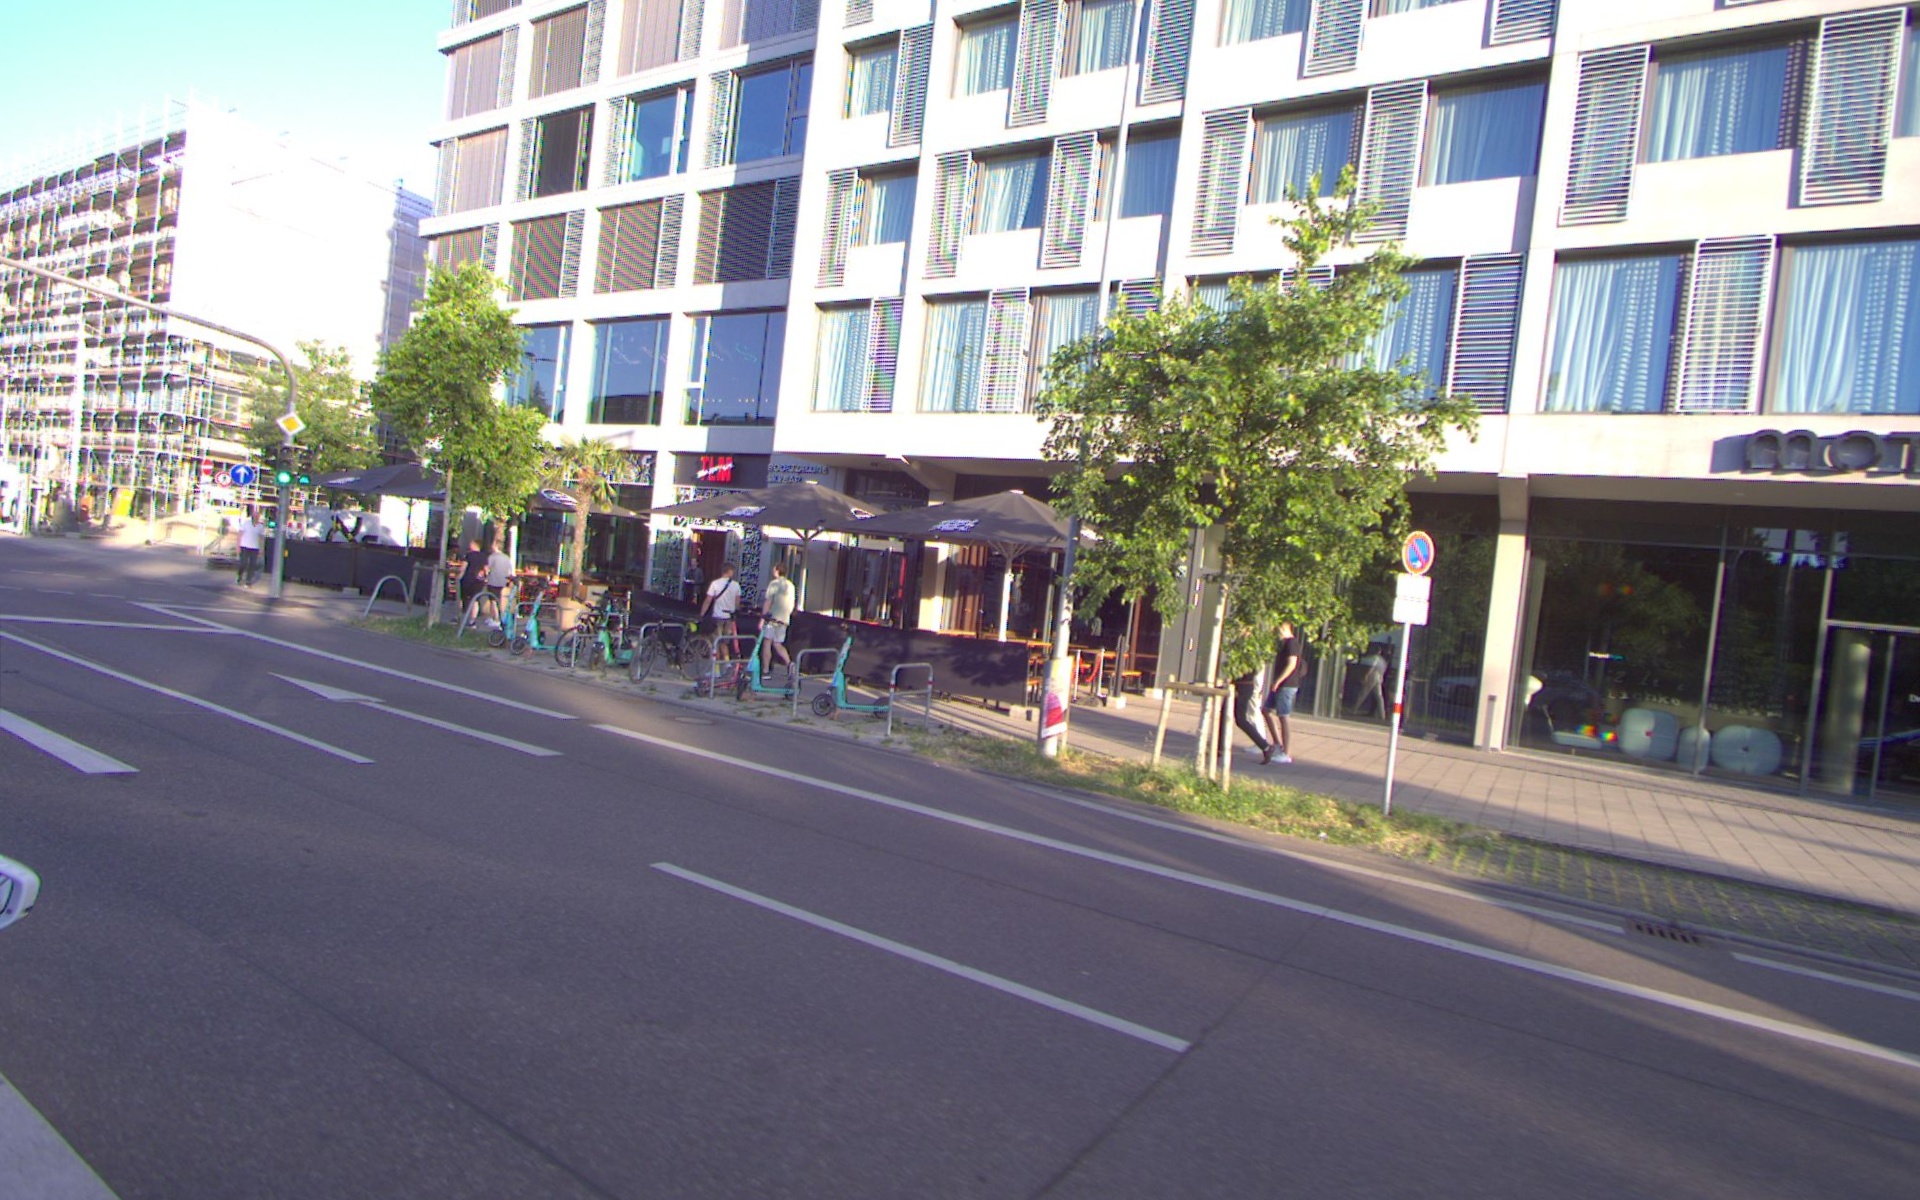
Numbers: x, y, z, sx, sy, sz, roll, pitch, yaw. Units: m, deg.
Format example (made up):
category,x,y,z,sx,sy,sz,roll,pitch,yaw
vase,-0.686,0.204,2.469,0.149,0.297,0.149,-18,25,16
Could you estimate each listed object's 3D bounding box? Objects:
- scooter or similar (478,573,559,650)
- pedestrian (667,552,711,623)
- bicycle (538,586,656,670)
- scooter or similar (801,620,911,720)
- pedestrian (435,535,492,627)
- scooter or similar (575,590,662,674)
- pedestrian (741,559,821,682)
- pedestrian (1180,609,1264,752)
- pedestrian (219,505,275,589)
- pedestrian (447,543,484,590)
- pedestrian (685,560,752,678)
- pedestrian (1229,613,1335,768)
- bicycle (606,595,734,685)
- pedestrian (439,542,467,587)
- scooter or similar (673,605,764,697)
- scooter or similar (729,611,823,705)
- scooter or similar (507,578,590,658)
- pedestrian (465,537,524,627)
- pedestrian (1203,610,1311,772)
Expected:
category,x,y,z,sx,sy,sz,roll,pitch,yaw
scooter or similar,-7.584,0.202,17.304,0.588,1.240,1.052,7,3,27
pedestrian,-6.968,-0.308,25.886,0.567,1.726,0.855,7,2,22
bicycle,-5.714,0.436,15.941,0.558,1.209,1.795,7,3,26
scooter or similar,-1.373,0.927,13.363,1.283,1.235,0.530,3,3,-35
pedestrian,-9.763,-0.365,19.787,0.677,1.725,0.653,7,3,31
scooter or similar,-5.286,0.486,15.627,0.471,1.218,1.210,7,3,26
pedestrian,-2.948,0.336,16.568,0.854,1.913,0.823,6,2,39
pedestrian,3.575,1.080,13.759,0.766,1.837,0.617,7,4,40
pedestrian,-16.920,-1.241,23.865,0.667,1.872,0.769,7,2,31
pedestrian,-15.050,-1.023,30.608,0.705,1.337,0.743,8,5,44
pedestrian,-3.897,0.300,16.214,0.818,1.810,0.574,6,3,44
pedestrian,4.196,1.150,13.111,0.927,1.849,0.754,7,3,40
bicycle,-4.278,0.585,14.971,0.598,1.198,1.847,7,3,30
pedestrian,-15.697,-1.097,31.150,0.609,1.337,0.613,2,4,-41
scooter or similar,-3.398,0.708,14.218,0.501,1.207,1.156,5,2,33
scooter or similar,-2.567,0.812,14.109,1.123,1.229,0.525,3,2,-44
scooter or similar,-6.731,0.305,16.483,0.542,1.240,1.059,8,3,40
pedestrian,-9.471,-0.360,20.472,0.748,1.758,0.685,7,4,31
pedestrian,3.732,1.110,12.645,0.927,1.874,0.742,7,4,40
